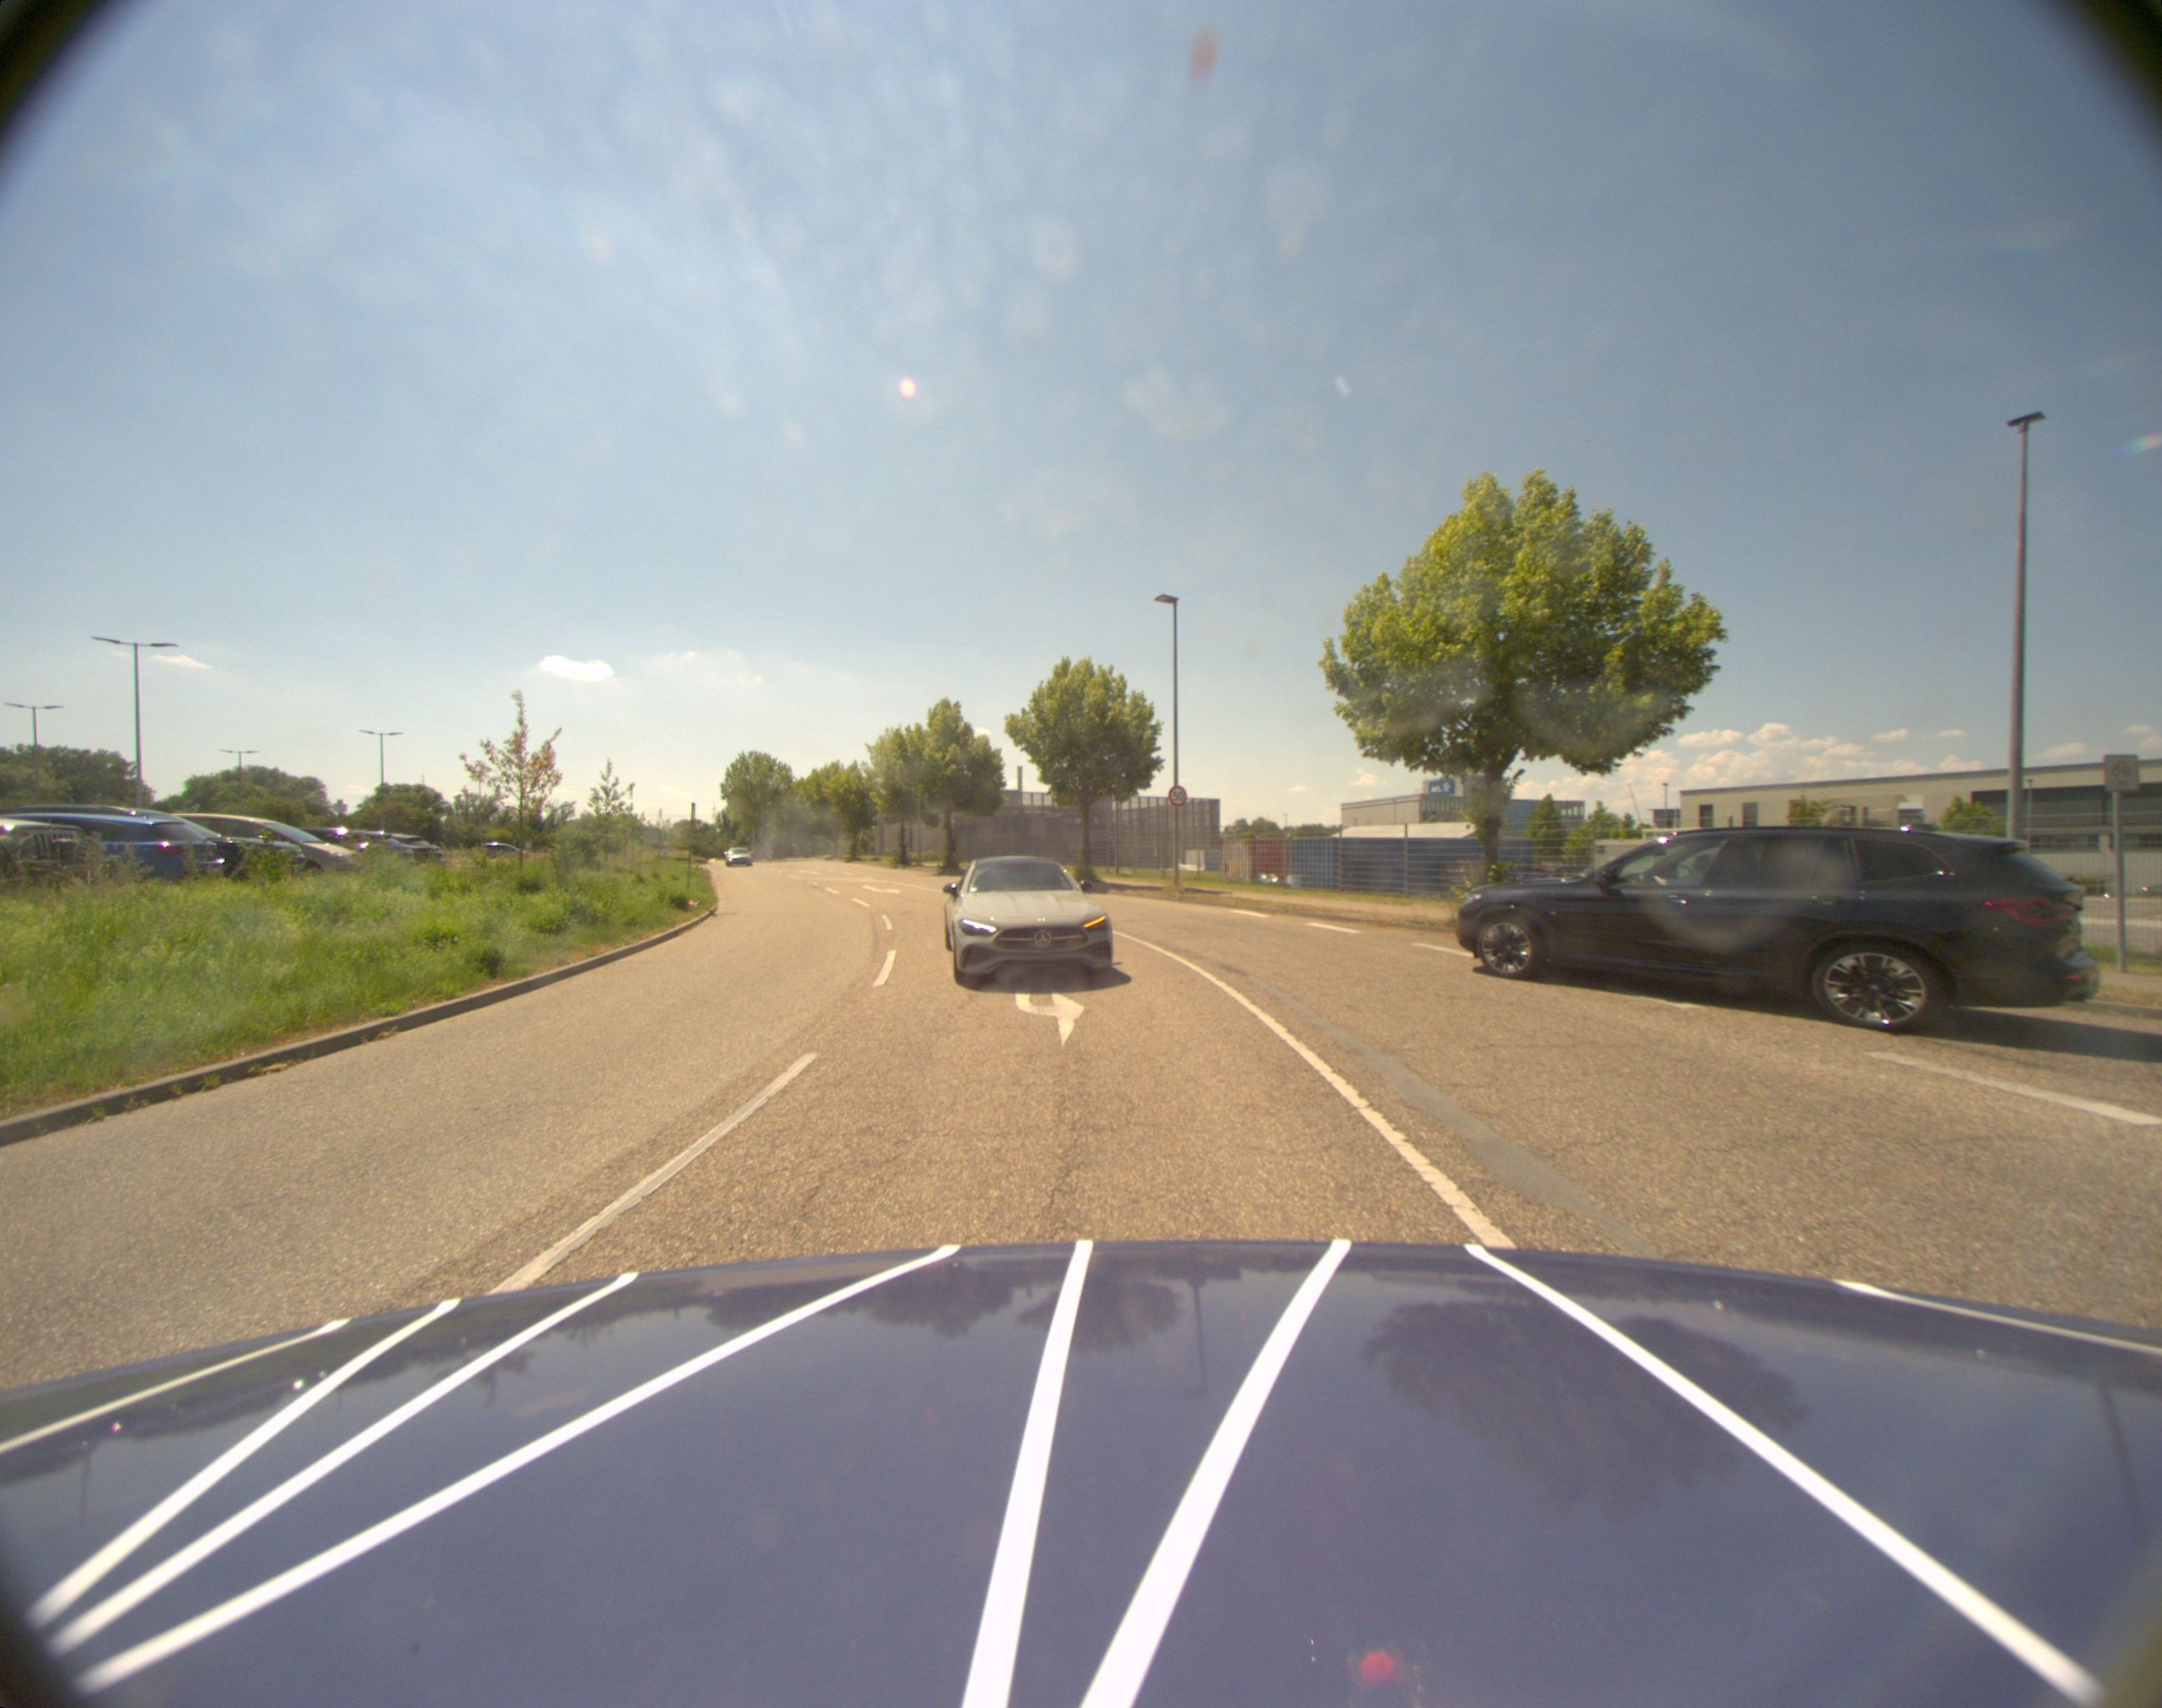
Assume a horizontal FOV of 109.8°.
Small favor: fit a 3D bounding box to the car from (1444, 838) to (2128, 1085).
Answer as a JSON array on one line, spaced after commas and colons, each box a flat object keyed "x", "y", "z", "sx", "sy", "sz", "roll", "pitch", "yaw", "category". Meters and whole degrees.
[{"x": 6.313, "y": 0.688, "z": 7.475, "sx": 1.874, "sy": 1.625, "sz": 4.586, "roll": 0, "pitch": 1, "yaw": -34, "category": "car"}]

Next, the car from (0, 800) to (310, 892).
[{"x": -17.893, "y": -0.185, "z": 14.482, "sx": 4.044, "sy": 1.422, "sz": 1.683, "roll": -6, "pitch": 4, "yaw": -29, "category": "car"}]

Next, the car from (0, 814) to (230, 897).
[{"x": -16.828, "y": -0.001, "z": 12.155, "sx": 3.953, "sy": 1.250, "sz": 1.581, "roll": -1, "pitch": 3, "yaw": -30, "category": "car"}]

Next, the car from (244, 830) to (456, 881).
[{"x": -21.100, "y": -0.018, "z": 22.196, "sx": 4.005, "sy": 1.285, "sz": 1.904, "roll": -2, "pitch": 3, "yaw": -26, "category": "car"}]

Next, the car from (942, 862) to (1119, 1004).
[{"x": -0.889, "y": 0.868, "z": 10.515, "sx": 1.899, "sy": 1.375, "sz": 4.629, "roll": -1, "pitch": 1, "yaw": -9, "category": "car"}]

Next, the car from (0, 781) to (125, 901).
[{"x": -15.753, "y": -0.198, "z": 9.805, "sx": 3.753, "sy": 1.519, "sz": 1.872, "roll": 0, "pitch": 3, "yaw": -22, "category": "car"}]

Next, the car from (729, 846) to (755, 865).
[{"x": -26.456, "y": 0.085, "z": 59.198, "sx": 1.676, "sy": 1.367, "sz": 4.486, "roll": -3, "pitch": 3, "yaw": -26, "category": "car"}]

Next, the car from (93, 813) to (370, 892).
[{"x": -18.921, "y": -0.011, "z": 17.187, "sx": 3.856, "sy": 1.615, "sz": 1.613, "roll": 1, "pitch": 1, "yaw": -29, "category": "car"}]

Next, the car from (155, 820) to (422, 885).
[{"x": -20.119, "y": -0.024, "z": 19.600, "sx": 4.409, "sy": 1.537, "sz": 1.811, "roll": 1, "pitch": 1, "yaw": -28, "category": "car"}]
